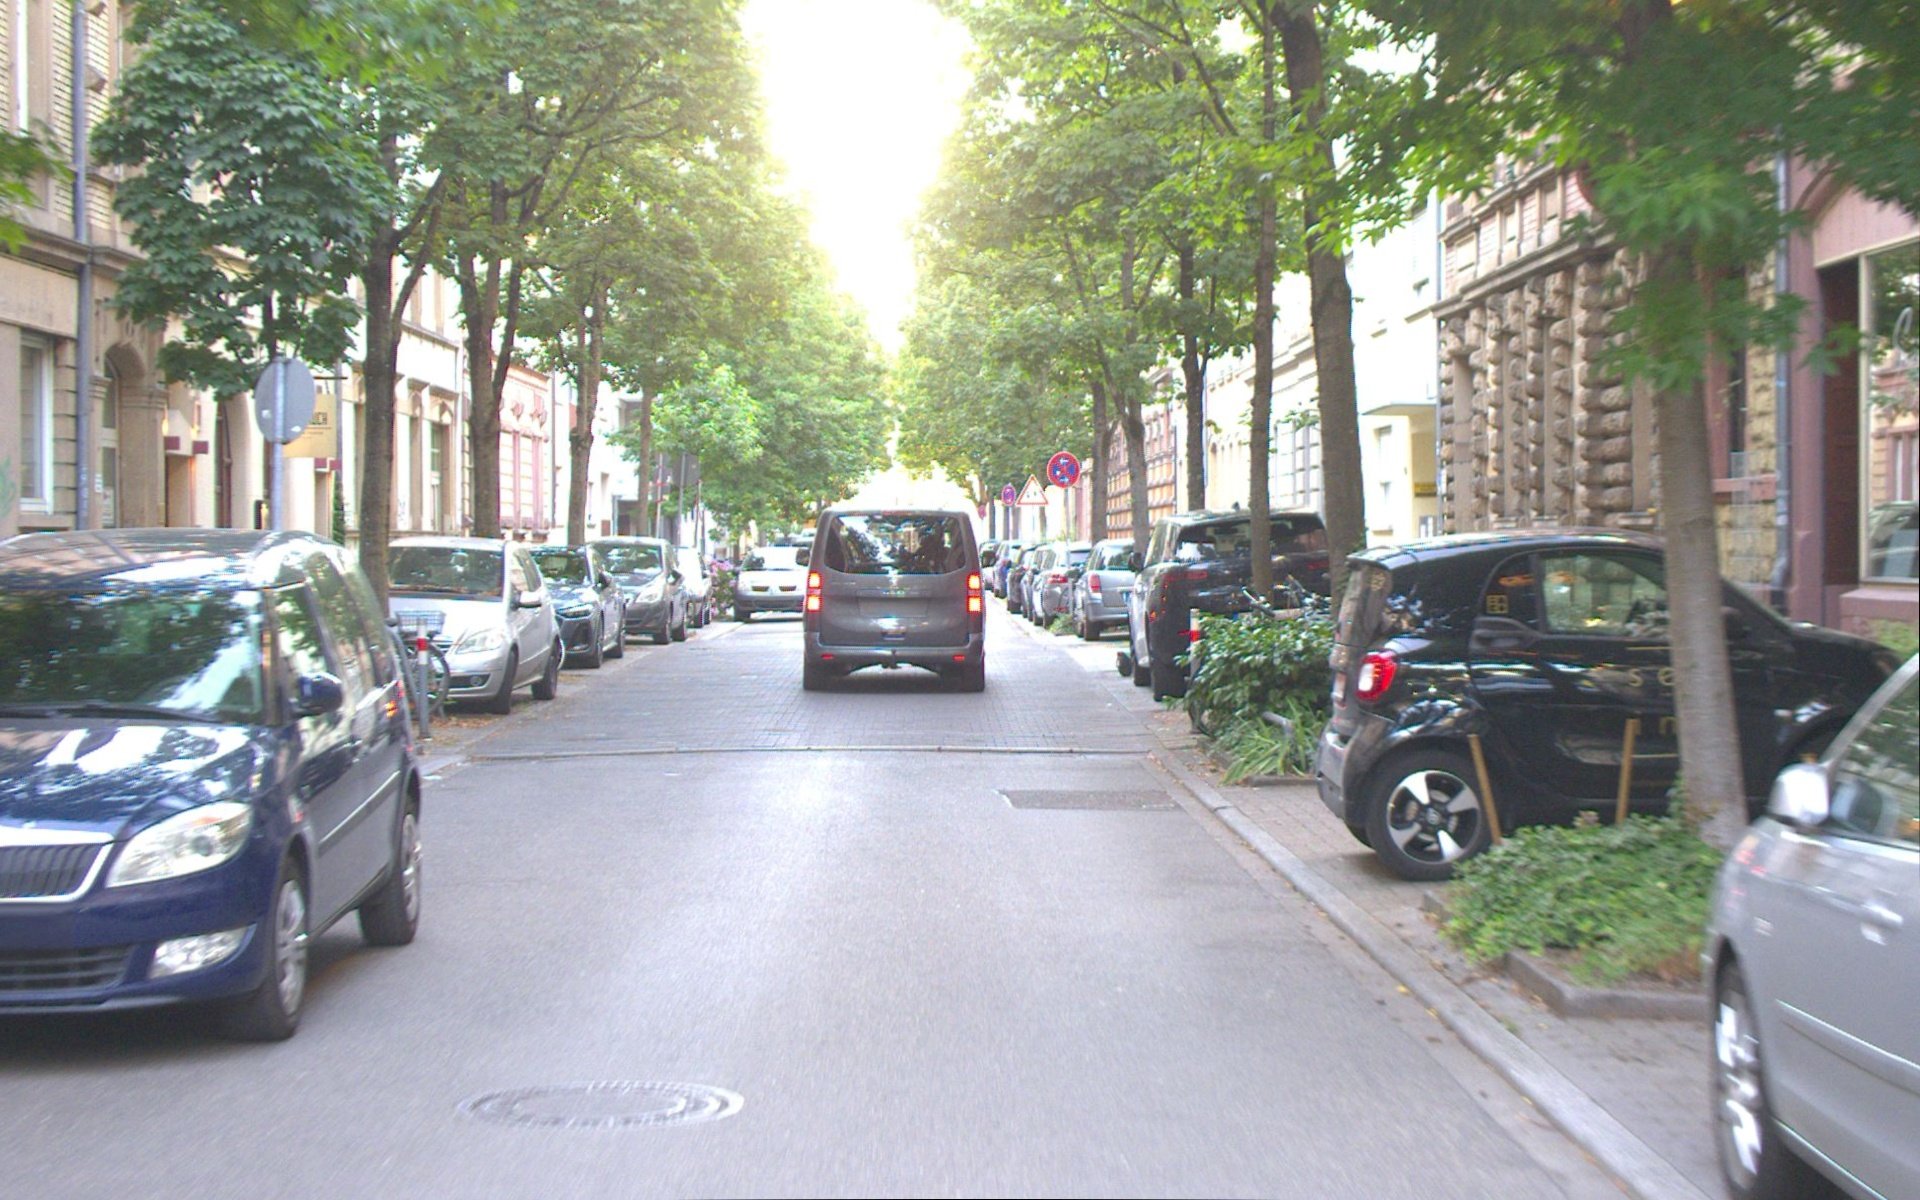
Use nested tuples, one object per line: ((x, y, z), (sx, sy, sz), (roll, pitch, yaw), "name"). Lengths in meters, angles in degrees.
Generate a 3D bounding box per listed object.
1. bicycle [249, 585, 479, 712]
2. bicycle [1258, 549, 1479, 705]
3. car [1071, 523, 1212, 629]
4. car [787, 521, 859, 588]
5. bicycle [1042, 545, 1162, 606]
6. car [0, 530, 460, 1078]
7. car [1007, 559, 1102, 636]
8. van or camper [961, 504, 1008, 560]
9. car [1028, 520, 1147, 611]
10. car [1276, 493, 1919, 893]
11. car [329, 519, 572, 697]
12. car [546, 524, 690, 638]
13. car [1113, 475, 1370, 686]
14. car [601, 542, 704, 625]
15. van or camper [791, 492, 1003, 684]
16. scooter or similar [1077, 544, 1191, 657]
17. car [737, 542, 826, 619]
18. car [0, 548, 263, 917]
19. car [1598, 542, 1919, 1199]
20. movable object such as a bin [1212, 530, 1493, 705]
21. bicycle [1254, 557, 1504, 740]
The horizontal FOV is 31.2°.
((-5.114, 0.415, 29.513), (1.863, 1.056, 0.596), (1, 1, -19), "bicycle")
((3.241, 0.213, 27.366), (1.696, 1.194, 0.582), (-1, 1, 3), "bicycle")
((2.665, -0.395, 51.313), (1.758, 1.458, 4.308), (-1, 1, -1), "car")
((-3.392, -1.135, 84.646), (1.663, 1.557, 4.001), (-1, 1, -4), "car")
((2.387, -0.410, 57.698), (1.915, 0.978, 0.638), (-1, 1, -22), "bicycle")
((-2.914, 0.555, 12.060), (1.723, 1.568, 4.220), (-1, 1, -1), "car")
((1.915, -0.074, 70.896), (1.766, 1.410, 4.474), (-3, 1, 0), "car")
((1.130, -3.198, 162.796), (1.993, 2.590, 5.425), (-1, 1, -2), "van or camper")
((2.214, -0.638, 60.594), (1.716, 1.471, 4.369), (-2, 1, -2), "car")
((3.012, 0.392, 16.147), (2.797, 1.594, 1.801), (-4, 1, 0), "car")
((-4.811, 0.026, 32.915), (1.676, 1.602, 3.861), (0, 1, 1), "car")
((-5.065, -0.317, 51.370), (1.706, 1.575, 4.078), (1, 2, 0), "car")
((2.693, -0.237, 33.978), (2.013, 1.827, 4.811), (-3, 1, -1), "car")
((-5.566, -0.320, 62.524), (1.587, 1.432, 3.566), (1, 1, -1), "car")
((-0.601, -0.159, 36.306), (2.035, 1.891, 4.271), (0, 1, 1), "van or camper")
((1.938, 0.006, 38.211), (0.675, 1.186, 1.113), (-3, 1, 39), "scooter or similar")
((-3.470, -0.407, 67.389), (1.580, 1.415, 3.753), (-1, 1, -1), "car")
((-4.431, 0.515, 16.010), (1.691, 1.496, 3.712), (1, 1, -2), "car")
((2.532, 0.640, 6.756), (1.733, 1.486, 4.104), (-1, 1, -1), "car")
((3.281, 0.141, 28.860), (2.216, 1.300, 0.771), (-4, 1, 2), "movable object such as a bin")
((3.221, 0.365, 26.552), (1.761, 1.289, 0.802), (-3, 1, -1), "bicycle")
